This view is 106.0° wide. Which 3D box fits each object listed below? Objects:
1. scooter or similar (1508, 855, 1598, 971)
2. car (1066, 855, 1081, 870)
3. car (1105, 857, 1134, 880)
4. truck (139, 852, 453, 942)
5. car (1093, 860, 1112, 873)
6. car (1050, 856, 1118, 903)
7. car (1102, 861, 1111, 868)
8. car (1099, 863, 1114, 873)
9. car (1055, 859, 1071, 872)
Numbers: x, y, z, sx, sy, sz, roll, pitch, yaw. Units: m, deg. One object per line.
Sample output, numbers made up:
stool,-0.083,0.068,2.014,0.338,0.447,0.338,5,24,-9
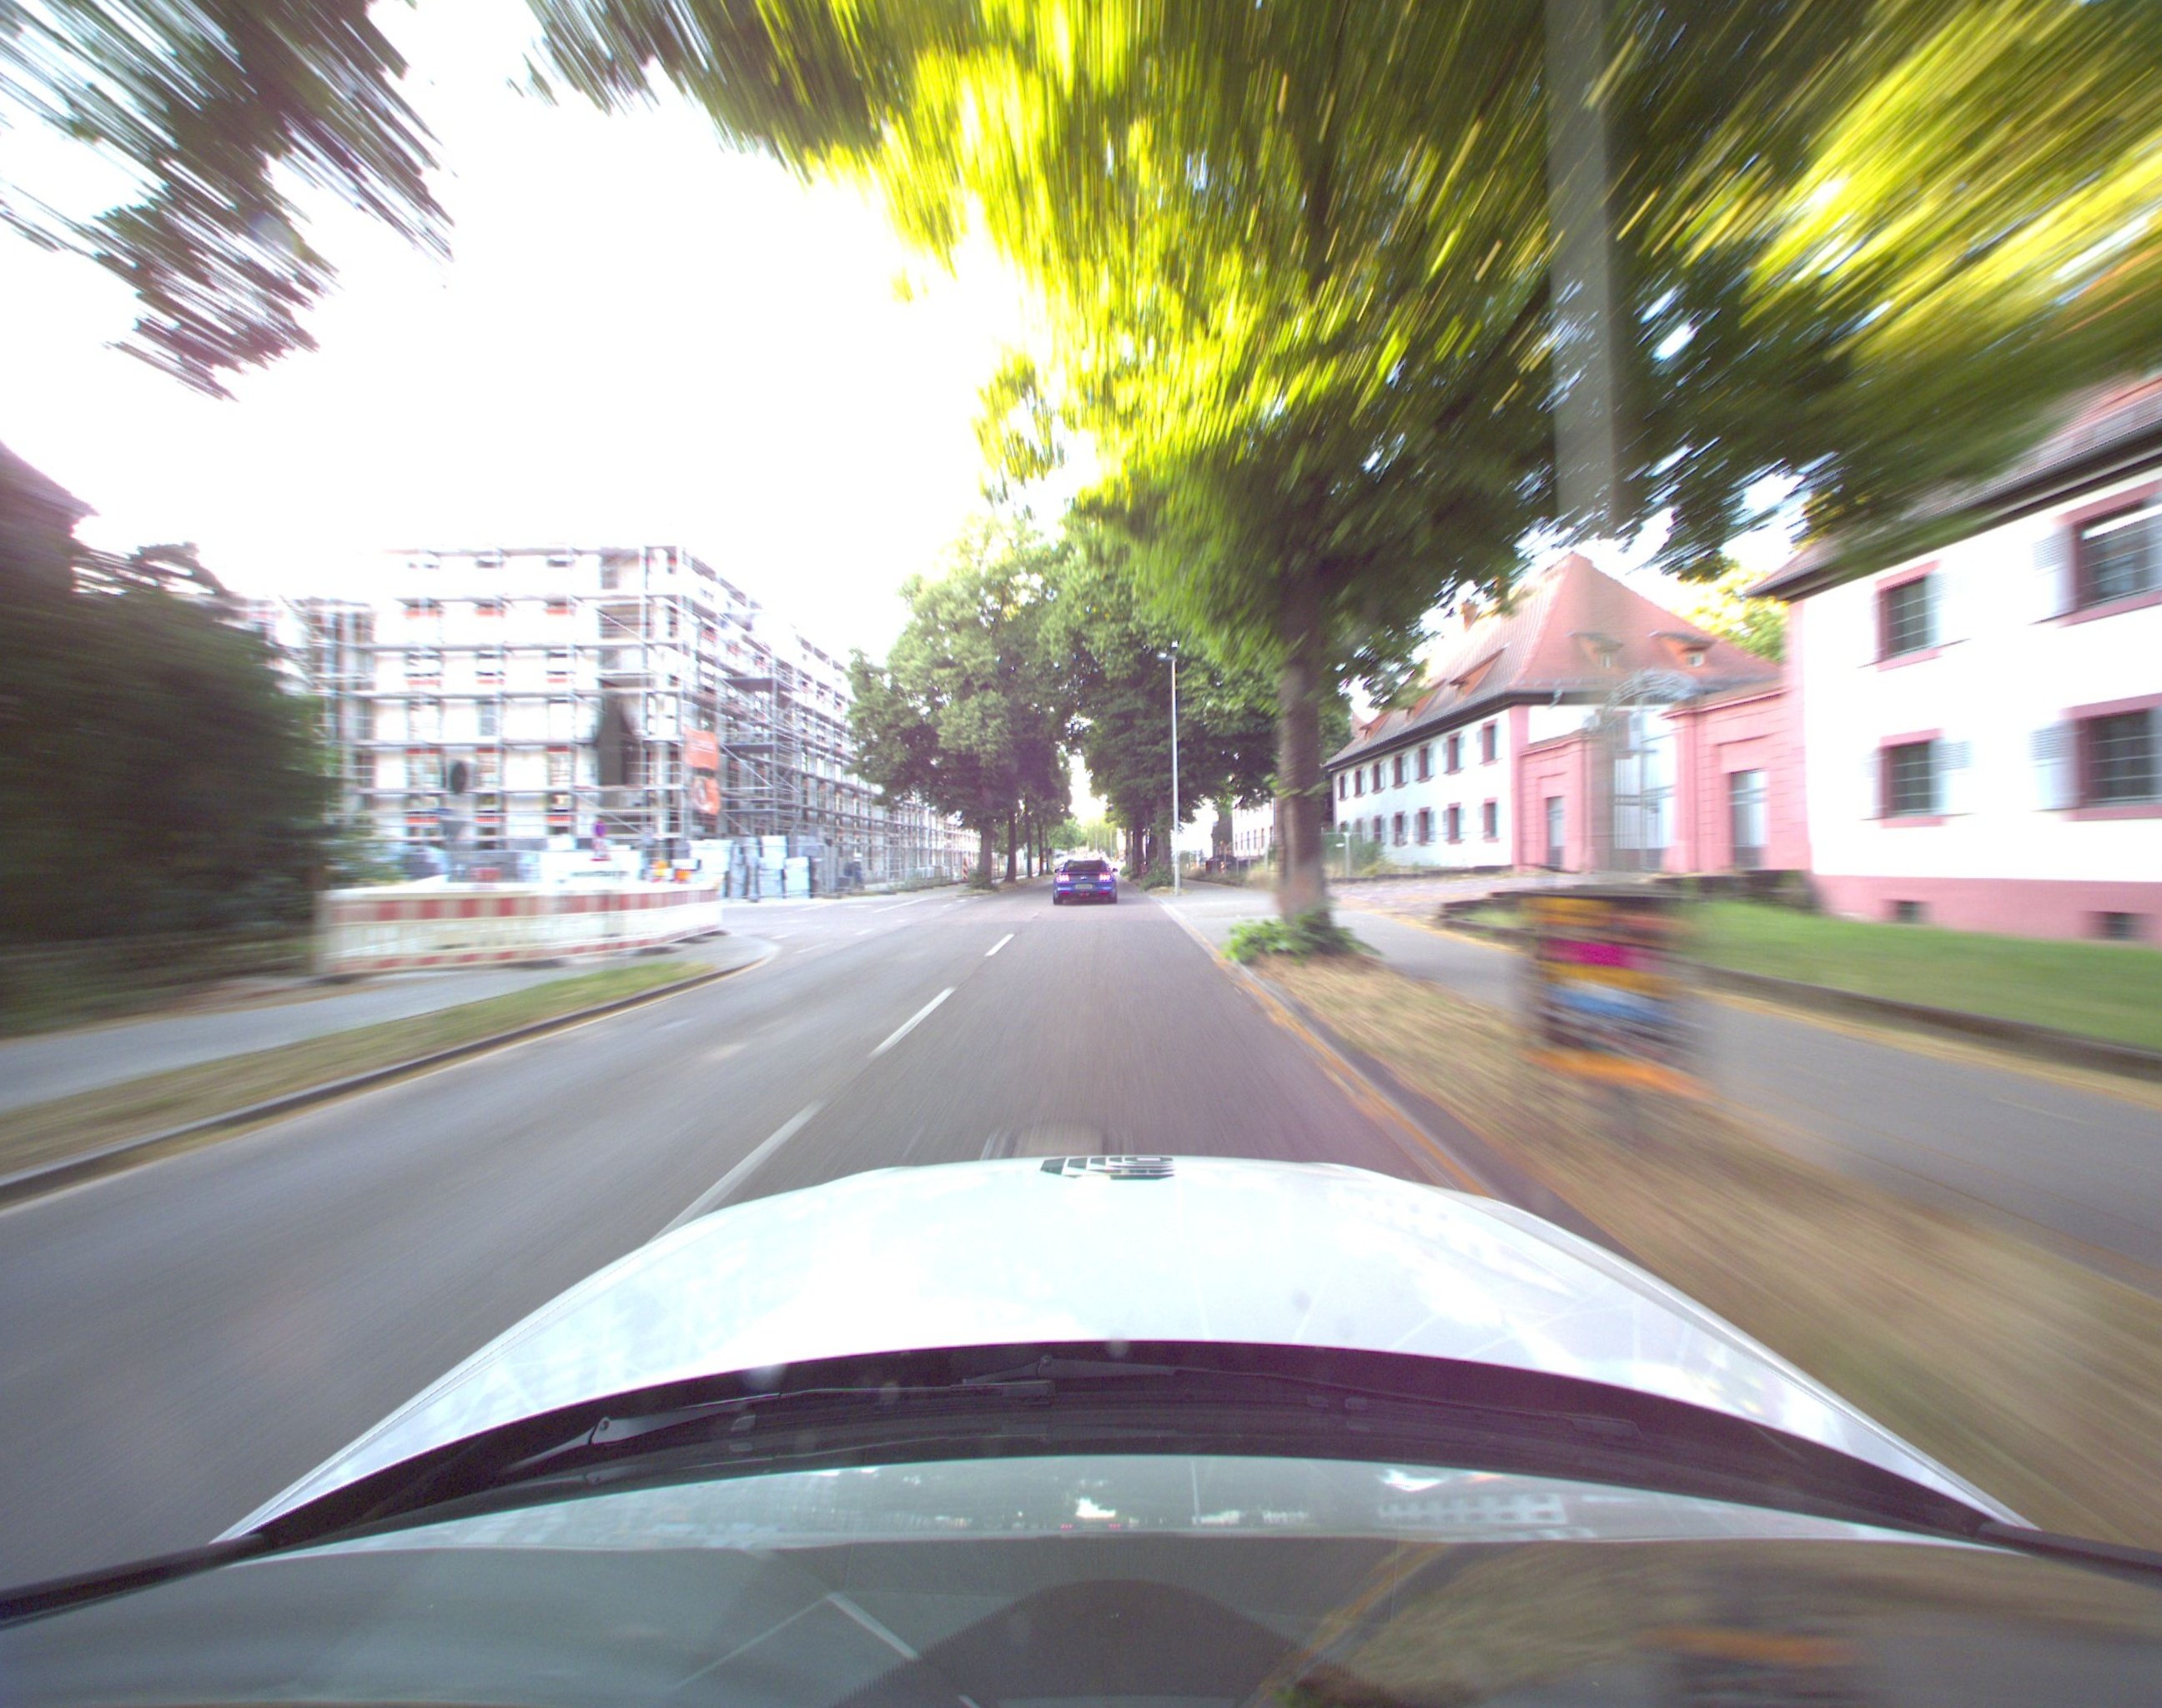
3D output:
scooter or similar,5.558,0.660,9.651,0.238,1.276,1.265,-1,-1,-3
car,-1.394,1.599,153.759,2.483,2.697,5.831,-1,-1,1
car,2.711,1.006,56.341,1.938,1.527,4.003,1,0,3
truck,-18.732,1.008,19.640,5.622,1.913,2.041,-2,-2,1
car,2.418,1.368,90.147,1.938,1.326,4.003,1,0,3
car,0.151,0.749,25.498,1.940,1.326,4.001,1,0,1
car,5.358,2.228,171.538,1.940,1.326,4.001,1,0,1
car,3.506,1.954,111.267,1.940,1.326,4.001,1,0,1
car,-3.101,2.045,142.151,2.326,2.198,5.313,-1,0,4
